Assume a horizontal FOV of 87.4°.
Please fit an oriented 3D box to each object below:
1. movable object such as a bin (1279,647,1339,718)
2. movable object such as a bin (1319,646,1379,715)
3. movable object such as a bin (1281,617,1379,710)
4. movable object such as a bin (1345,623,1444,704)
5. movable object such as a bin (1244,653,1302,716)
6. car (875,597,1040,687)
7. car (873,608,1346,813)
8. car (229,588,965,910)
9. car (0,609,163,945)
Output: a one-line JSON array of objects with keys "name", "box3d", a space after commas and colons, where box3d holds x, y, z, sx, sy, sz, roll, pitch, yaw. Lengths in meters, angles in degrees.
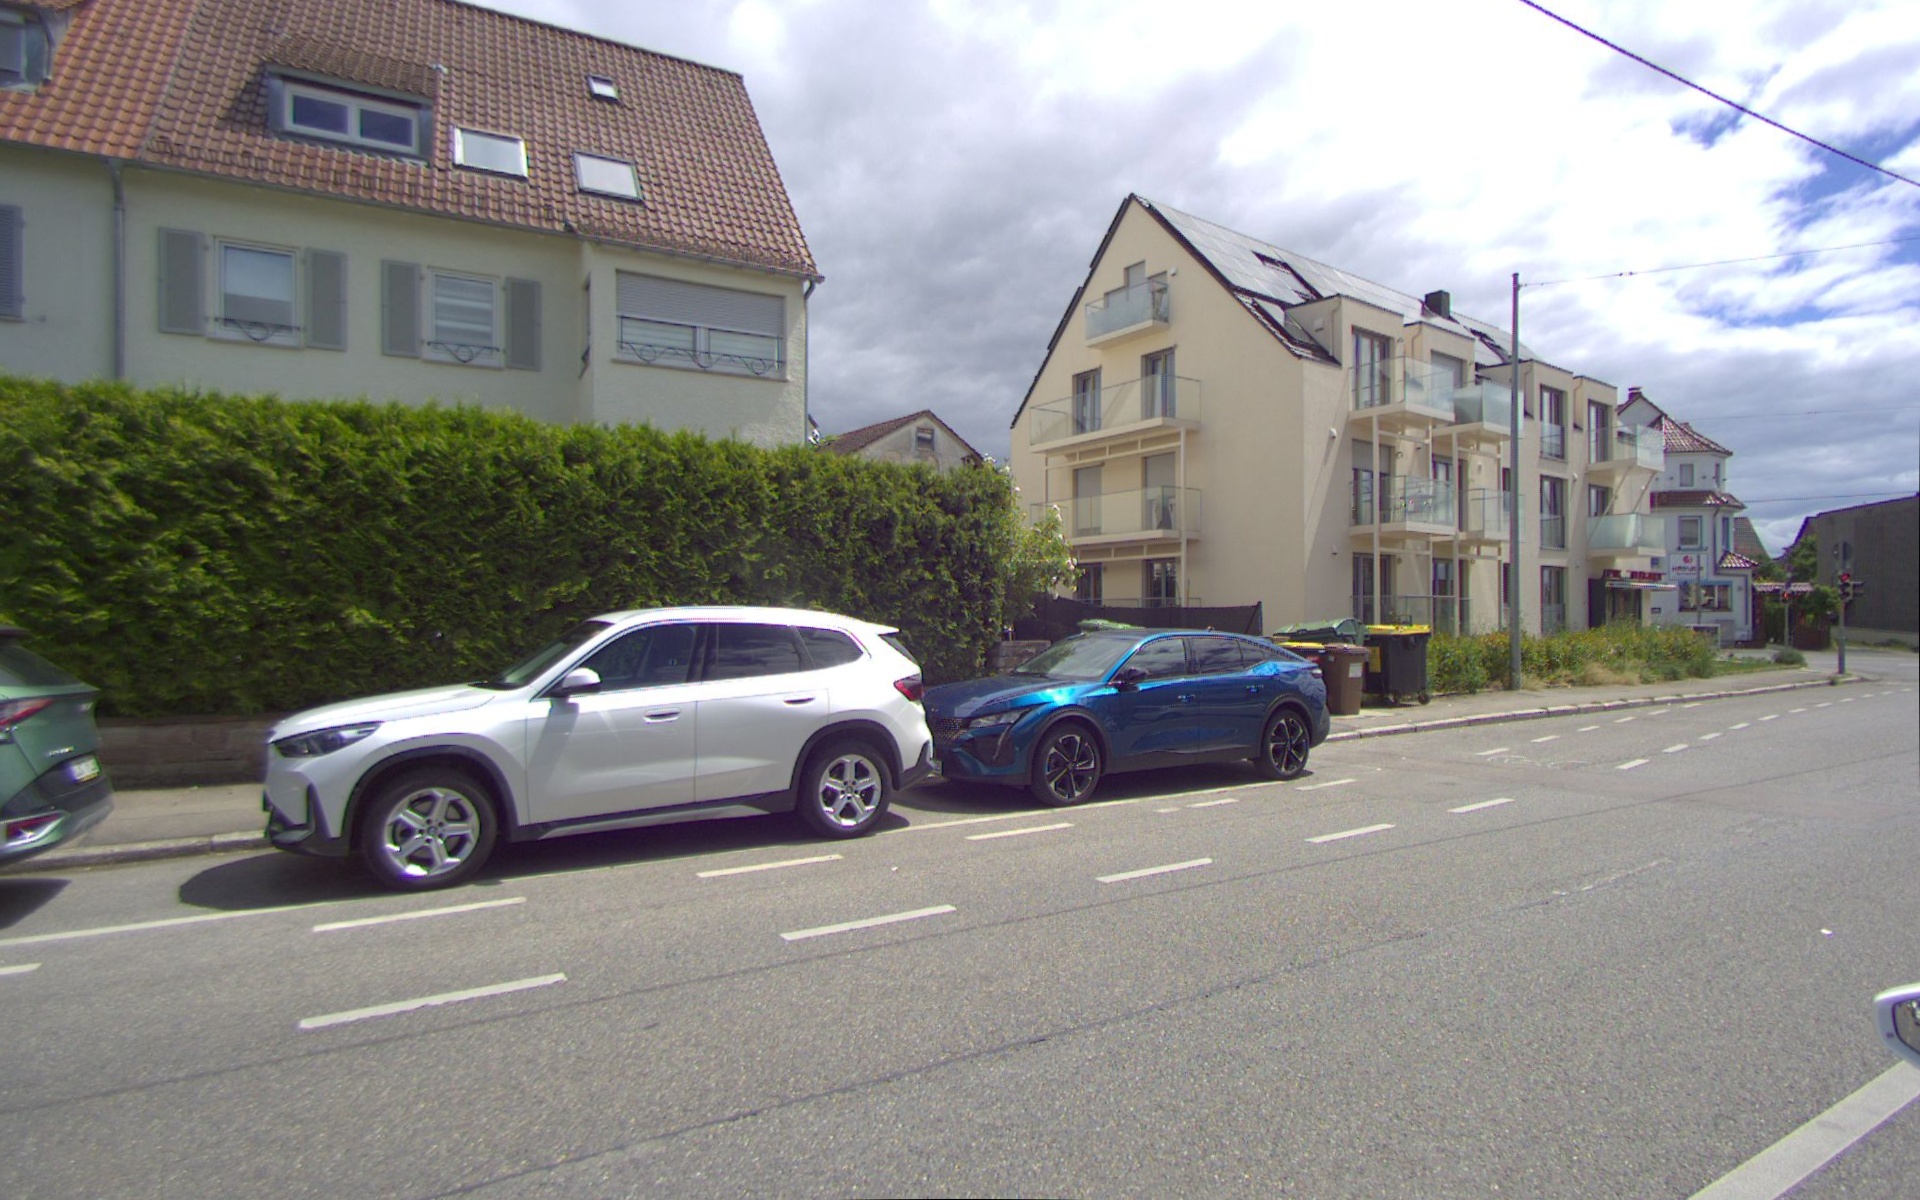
[{"name": "movable object such as a bin", "box3d": [5.367, 1.254, 15.442, 0.651, 1.037, 0.593, 1, -1, -30]}, {"name": "movable object such as a bin", "box3d": [6.038, 1.238, 15.601, 0.651, 1.020, 0.593, 1, -1, -30]}, {"name": "movable object such as a bin", "box3d": [6.244, 1.043, 16.963, 1.201, 1.501, 1.059, 1, -1, -32]}, {"name": "movable object such as a bin", "box3d": [7.472, 1.064, 17.297, 1.199, 1.330, 1.061, 1, -1, -29]}, {"name": "movable object such as a bin", "box3d": [4.738, 1.270, 15.236, 0.607, 0.891, 0.593, 1, -1, -30]}, {"name": "car", "box3d": [-0.152, 0.825, 21.640, 1.783, 1.728, 3.967, 1, 0, -31]}, {"name": "car", "box3d": [1.563, 0.921, 9.935, 4.440, 1.608, 1.983, 1, -1, -32]}, {"name": "car", "box3d": [-2.373, 0.831, 7.245, 4.465, 1.672, 1.984, 1, -1, -31]}, {"name": "car", "box3d": [-6.825, 0.816, 4.611, 4.632, 1.584, 1.985, 1, -1, -29]}]
